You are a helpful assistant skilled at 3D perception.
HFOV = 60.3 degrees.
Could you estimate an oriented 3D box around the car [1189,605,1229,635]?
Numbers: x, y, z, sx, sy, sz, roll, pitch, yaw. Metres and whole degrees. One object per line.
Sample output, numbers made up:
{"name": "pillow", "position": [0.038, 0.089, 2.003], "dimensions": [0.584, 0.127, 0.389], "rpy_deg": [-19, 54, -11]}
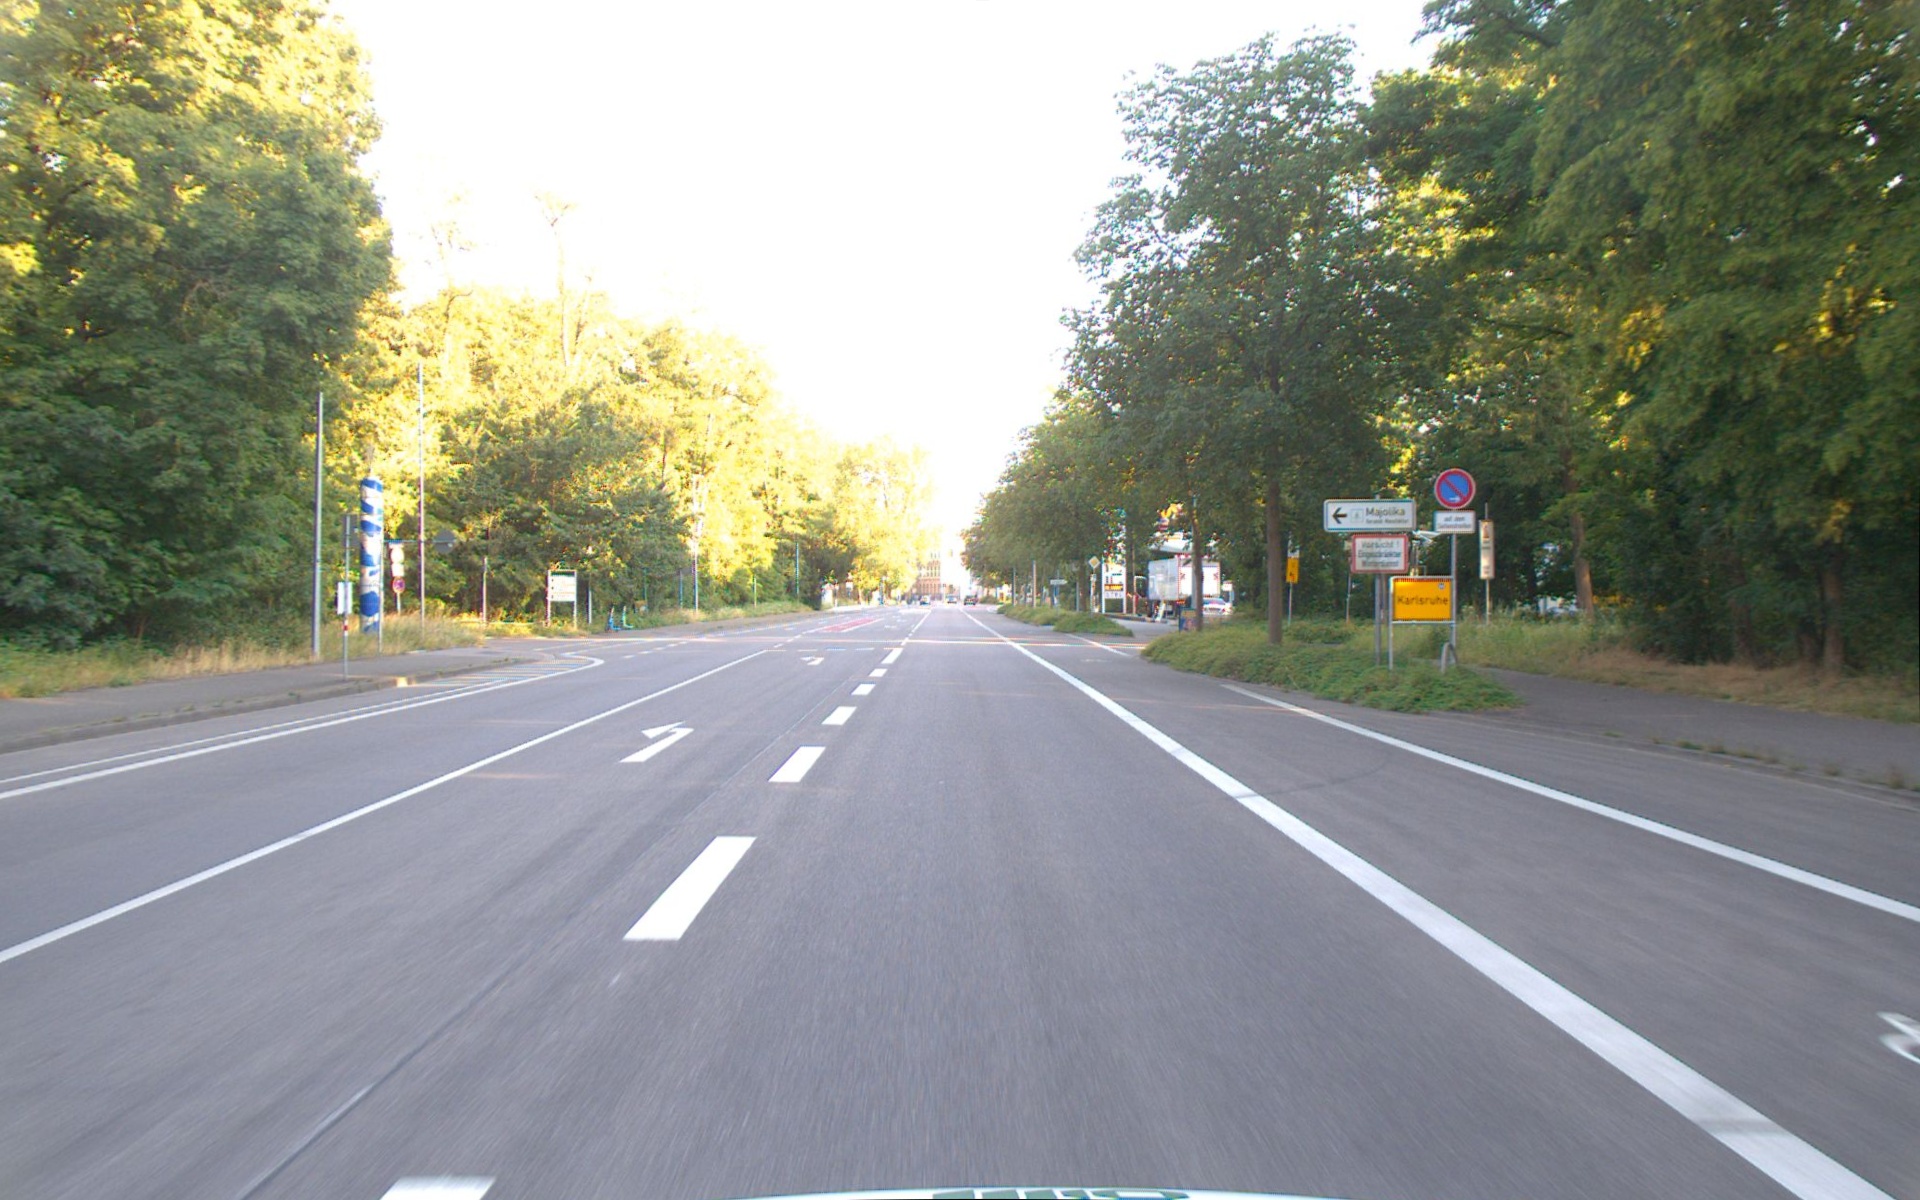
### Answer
{"name": "car", "position": [13.850, 1.097, 92.235], "dimensions": [1.733, 1.611, 4.821], "rpy_deg": [1, 0, 3]}

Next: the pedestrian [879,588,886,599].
{"name": "pedestrian", "position": [-11.357, -0.928, 242.694], "dimensions": [0.774, 1.608, 0.746], "rpy_deg": [1, 0, 9]}

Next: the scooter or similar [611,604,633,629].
{"name": "scooter or similar", "position": [-14.970, 0.742, 73.283], "dimensions": [0.886, 1.087, 0.492], "rpy_deg": [0, 0, -26]}

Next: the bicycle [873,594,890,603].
{"name": "bicycle", "position": [-11.487, -0.236, 242.761], "dimensions": [2.410, 1.216, 0.757], "rpy_deg": [0, 0, 9]}

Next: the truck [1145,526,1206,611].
{"name": "truck", "position": [14.456, -2.095, 111.610], "dimensions": [2.971, 5.551, 8.409], "rpy_deg": [0, 1, 0]}

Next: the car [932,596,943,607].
{"name": "car", "position": [-3.298, 0.204, 242.459], "dimensions": [1.462, 1.512, 3.490], "rpy_deg": [0, 0, 0]}

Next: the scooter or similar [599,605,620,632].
{"name": "scooter or similar", "position": [-14.826, 0.787, 69.968], "dimensions": [0.355, 1.129, 0.874], "rpy_deg": [0, 0, 41]}

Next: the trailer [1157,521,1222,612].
{"name": "trailer", "position": [14.475, -2.041, 104.907], "dimensions": [2.958, 5.557, 7.934], "rpy_deg": [0, 0, 0]}

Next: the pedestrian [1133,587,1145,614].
{"name": "pedestrian", "position": [12.491, 0.028, 115.567], "dimensions": [0.741, 1.829, 0.707], "rpy_deg": [1, 0, 3]}

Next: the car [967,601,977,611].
{"name": "car", "position": [1.856, 0.932, 258.438], "dimensions": [1.462, 1.512, 3.490], "rpy_deg": [0, 0, 0]}
